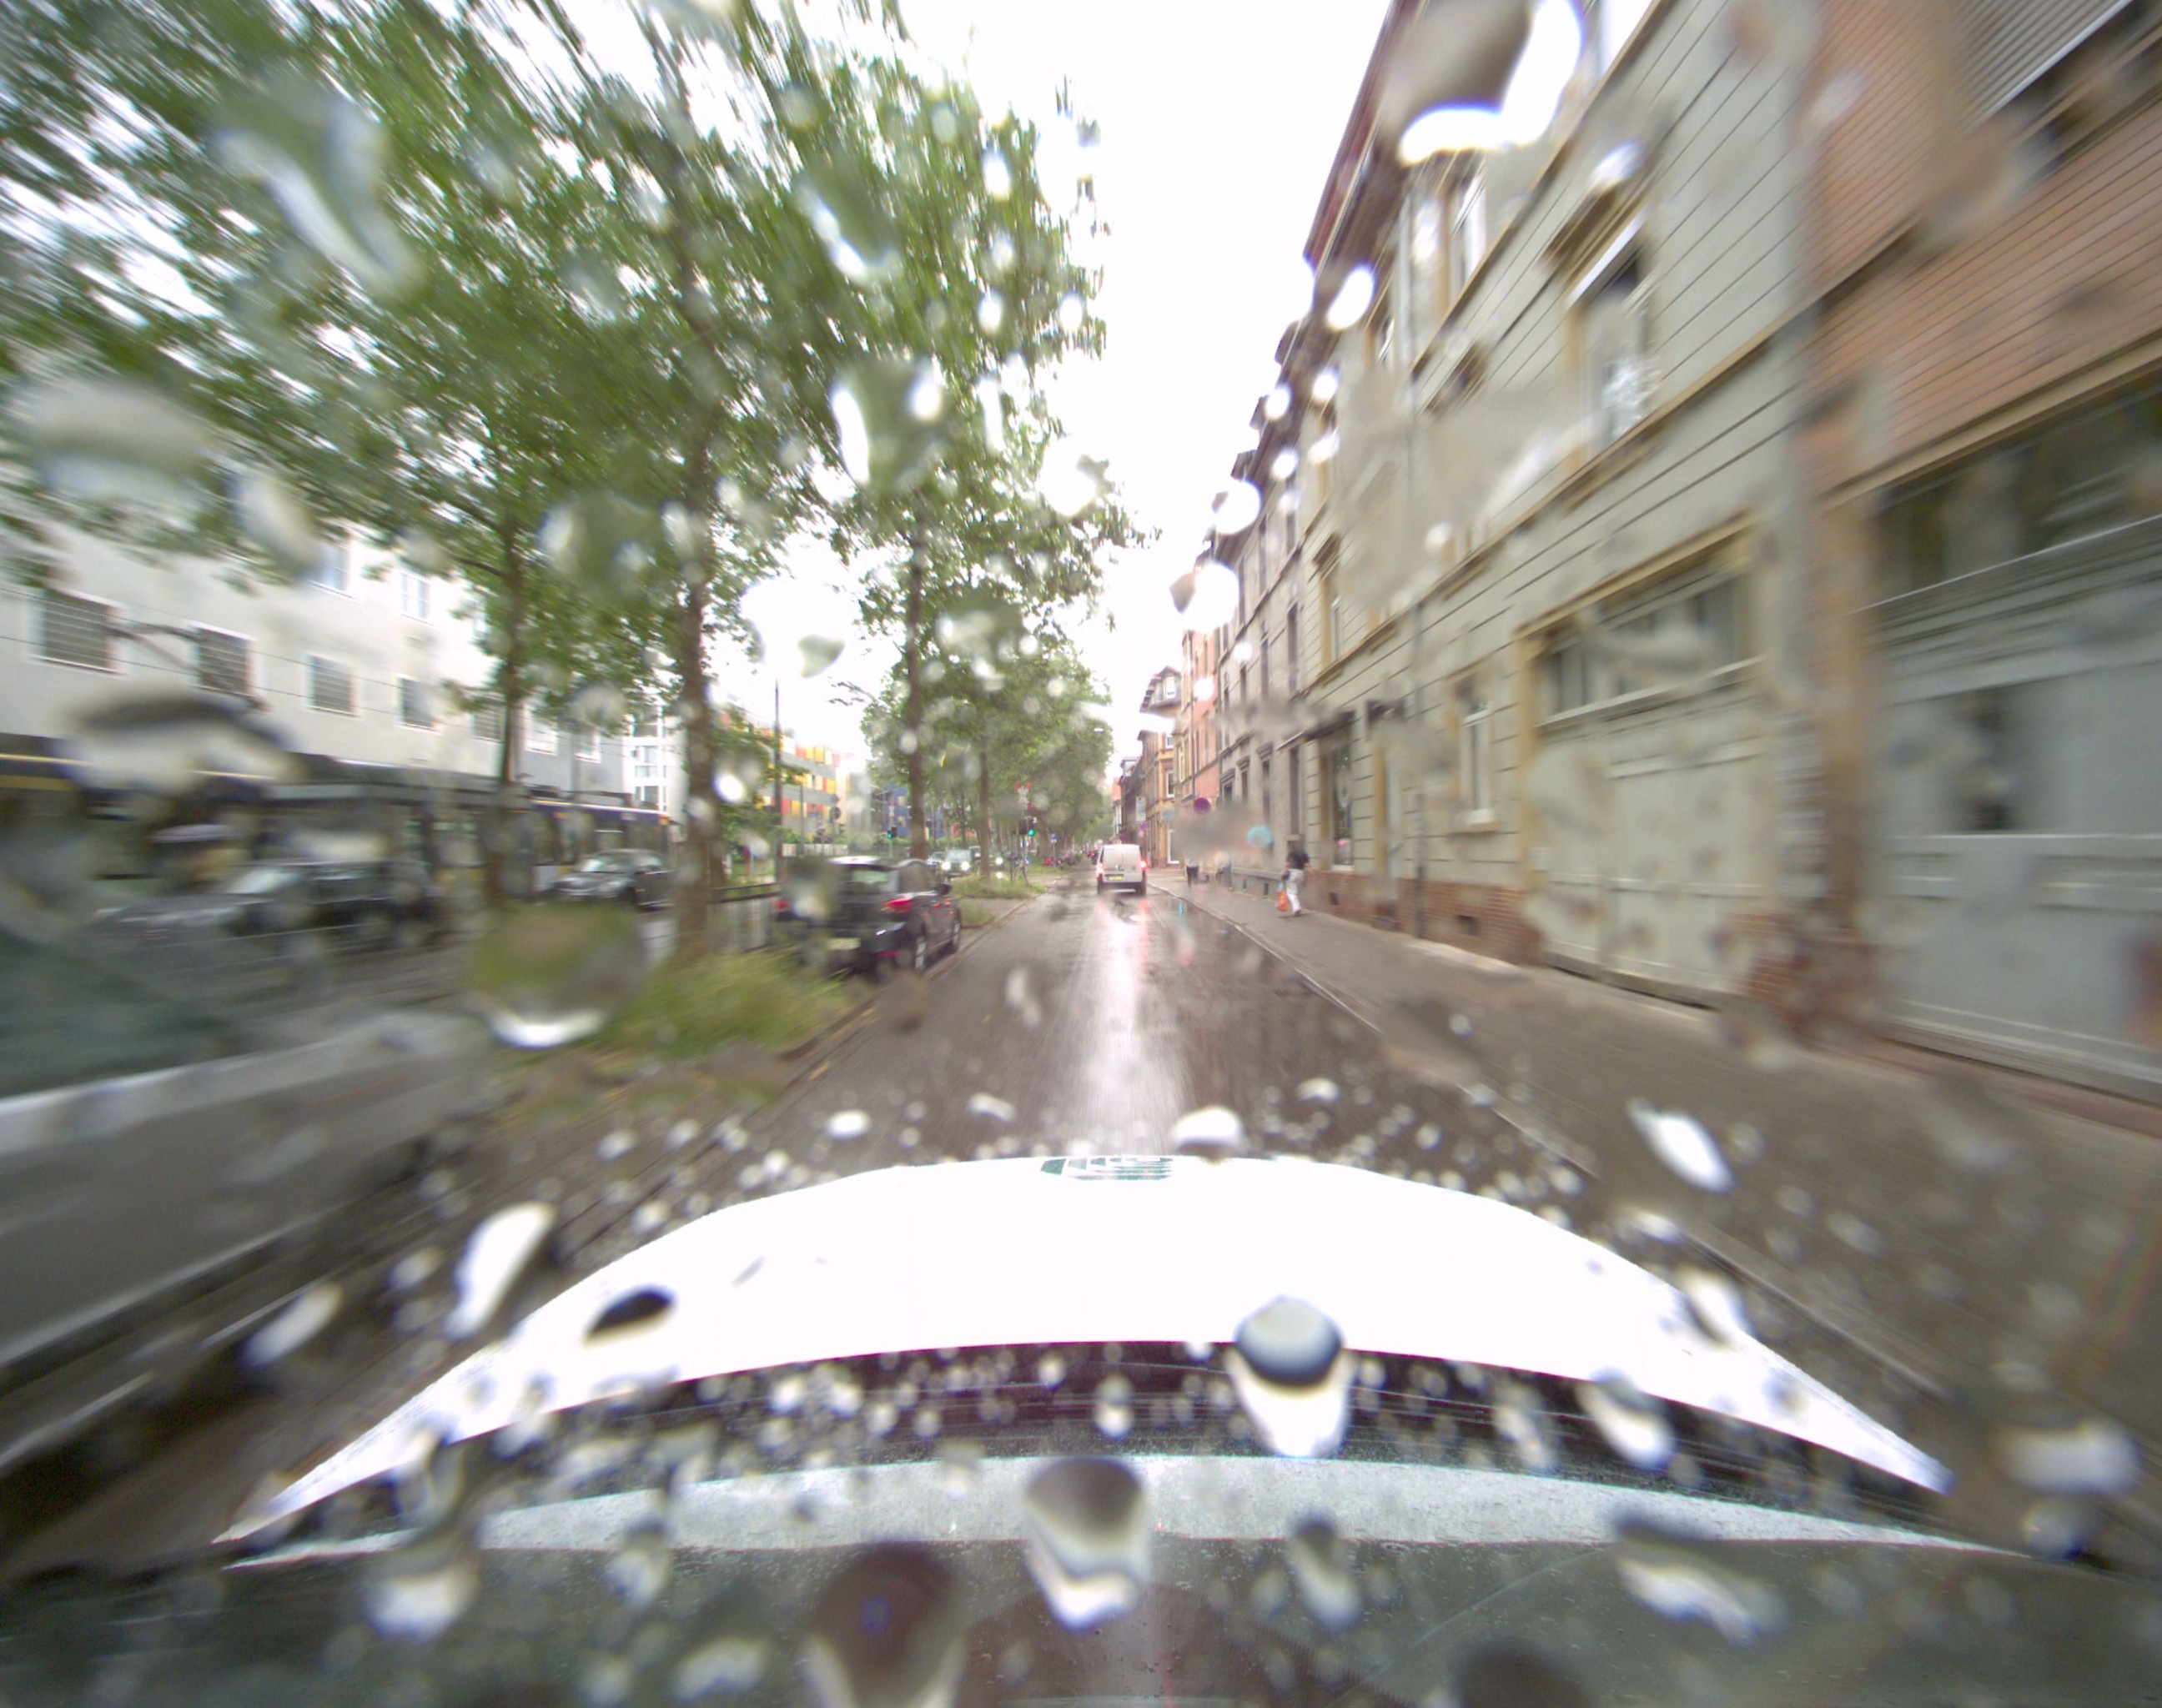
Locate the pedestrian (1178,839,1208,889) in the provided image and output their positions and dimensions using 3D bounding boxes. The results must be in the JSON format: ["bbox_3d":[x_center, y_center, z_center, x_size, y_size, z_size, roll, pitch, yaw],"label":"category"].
[{"bbox_3d":[4.014,0.343,29.286,0.837,1.716,1.108,-4,0,1],"label":"pedestrian"}]

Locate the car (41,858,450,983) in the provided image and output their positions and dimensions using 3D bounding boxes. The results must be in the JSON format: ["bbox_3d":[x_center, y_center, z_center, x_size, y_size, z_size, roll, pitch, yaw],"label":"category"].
[{"bbox_3d":[-11.106,0.779,11.286,1.733,1.343,3.755,2,0,0],"label":"car"}]

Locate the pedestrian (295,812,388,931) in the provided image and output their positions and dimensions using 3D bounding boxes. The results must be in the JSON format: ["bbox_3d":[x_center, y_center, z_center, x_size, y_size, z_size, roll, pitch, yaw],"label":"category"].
[{"bbox_3d":[-12.970,0.298,14.308,0.865,2.013,0.821,-1,0,4],"label":"pedestrian"}]

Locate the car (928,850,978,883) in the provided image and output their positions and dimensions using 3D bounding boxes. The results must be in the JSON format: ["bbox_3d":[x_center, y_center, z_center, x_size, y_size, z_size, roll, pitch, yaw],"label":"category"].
[{"bbox_3d":[-6.661,0.617,42.849,1.991,1.613,4.000,-1,0,0],"label":"car"}]

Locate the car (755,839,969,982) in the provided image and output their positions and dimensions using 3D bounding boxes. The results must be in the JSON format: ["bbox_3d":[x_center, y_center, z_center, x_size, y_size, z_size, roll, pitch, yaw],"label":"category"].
[{"bbox_3d":[-2.624,0.600,10.763,1.643,1.500,4.119,1,0,1],"label":"car"}]

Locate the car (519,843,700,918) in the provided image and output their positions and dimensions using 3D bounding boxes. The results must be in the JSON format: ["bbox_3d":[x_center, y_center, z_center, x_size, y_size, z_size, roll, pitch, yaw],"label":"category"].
[{"bbox_3d":[-11.123,0.551,19.598,1.987,1.613,4.000,-1,0,0],"label":"car"}]

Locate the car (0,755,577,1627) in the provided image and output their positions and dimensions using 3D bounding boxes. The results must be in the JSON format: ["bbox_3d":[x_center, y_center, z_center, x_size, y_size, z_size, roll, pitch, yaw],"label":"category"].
[{"bbox_3d":[-2.894,0.649,1.585,1.619,1.681,3.657,0,1,-2],"label":"car"}]

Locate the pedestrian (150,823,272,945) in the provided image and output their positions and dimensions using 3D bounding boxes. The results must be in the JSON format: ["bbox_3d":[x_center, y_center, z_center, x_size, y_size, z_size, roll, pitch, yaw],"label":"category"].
[{"bbox_3d":[-12.687,0.421,11.912,0.815,1.703,0.872,-1,0,0],"label":"pedestrian"}]

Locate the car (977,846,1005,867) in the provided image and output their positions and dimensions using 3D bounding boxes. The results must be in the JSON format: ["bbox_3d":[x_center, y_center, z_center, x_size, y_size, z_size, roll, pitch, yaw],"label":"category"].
[{"bbox_3d":[-7.287,0.163,66.402,1.993,1.612,4.120,-1,1,-3],"label":"car"}]

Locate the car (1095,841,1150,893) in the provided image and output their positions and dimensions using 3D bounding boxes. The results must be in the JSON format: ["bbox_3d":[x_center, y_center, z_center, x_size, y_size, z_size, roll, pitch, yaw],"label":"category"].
[{"bbox_3d":[1.495,0.479,30.562,1.897,1.797,4.114,-1,-1,1],"label":"car"}]

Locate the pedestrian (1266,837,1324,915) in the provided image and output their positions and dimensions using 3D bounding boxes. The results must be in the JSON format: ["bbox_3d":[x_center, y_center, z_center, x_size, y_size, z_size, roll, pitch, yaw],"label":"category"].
[{"bbox_3d":[4.397,0.438,16.821,0.837,1.511,1.108,-4,0,1],"label":"pedestrian"}]

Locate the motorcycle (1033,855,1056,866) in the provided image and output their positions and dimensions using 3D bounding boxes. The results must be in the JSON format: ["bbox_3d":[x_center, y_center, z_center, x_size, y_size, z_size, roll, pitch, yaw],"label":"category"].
[{"bbox_3d":[-2.815,0.487,62.761,1.698,0.864,0.578,-1,0,5],"label":"motorcycle"}]

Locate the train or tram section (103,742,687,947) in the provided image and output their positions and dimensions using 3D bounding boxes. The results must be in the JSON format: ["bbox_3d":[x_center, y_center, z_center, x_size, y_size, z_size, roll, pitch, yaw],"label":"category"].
[{"bbox_3d":[-15.696,-0.041,21.753,3.096,3.558,14.672,-1,-1,0],"label":"train or tram section"}]

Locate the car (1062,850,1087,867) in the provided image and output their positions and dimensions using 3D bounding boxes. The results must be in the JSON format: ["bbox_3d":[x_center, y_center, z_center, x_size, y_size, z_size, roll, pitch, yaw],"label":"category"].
[{"bbox_3d":[-0.540,0.402,71.343,1.986,1.387,4.002,-1,0,2],"label":"car"}]

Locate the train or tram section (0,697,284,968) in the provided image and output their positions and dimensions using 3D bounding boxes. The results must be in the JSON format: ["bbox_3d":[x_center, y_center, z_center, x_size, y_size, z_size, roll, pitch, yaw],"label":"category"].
[{"bbox_3d":[-15.794,-0.319,7.198,3.095,3.558,14.575,-1,-1,0],"label":"train or tram section"}]

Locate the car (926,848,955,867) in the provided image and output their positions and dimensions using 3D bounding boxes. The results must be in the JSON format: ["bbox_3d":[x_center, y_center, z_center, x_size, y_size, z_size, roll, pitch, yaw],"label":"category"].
[{"bbox_3d":[-11.058,0.256,64.257,1.991,1.415,3.992,-1,0,-6],"label":"car"}]
